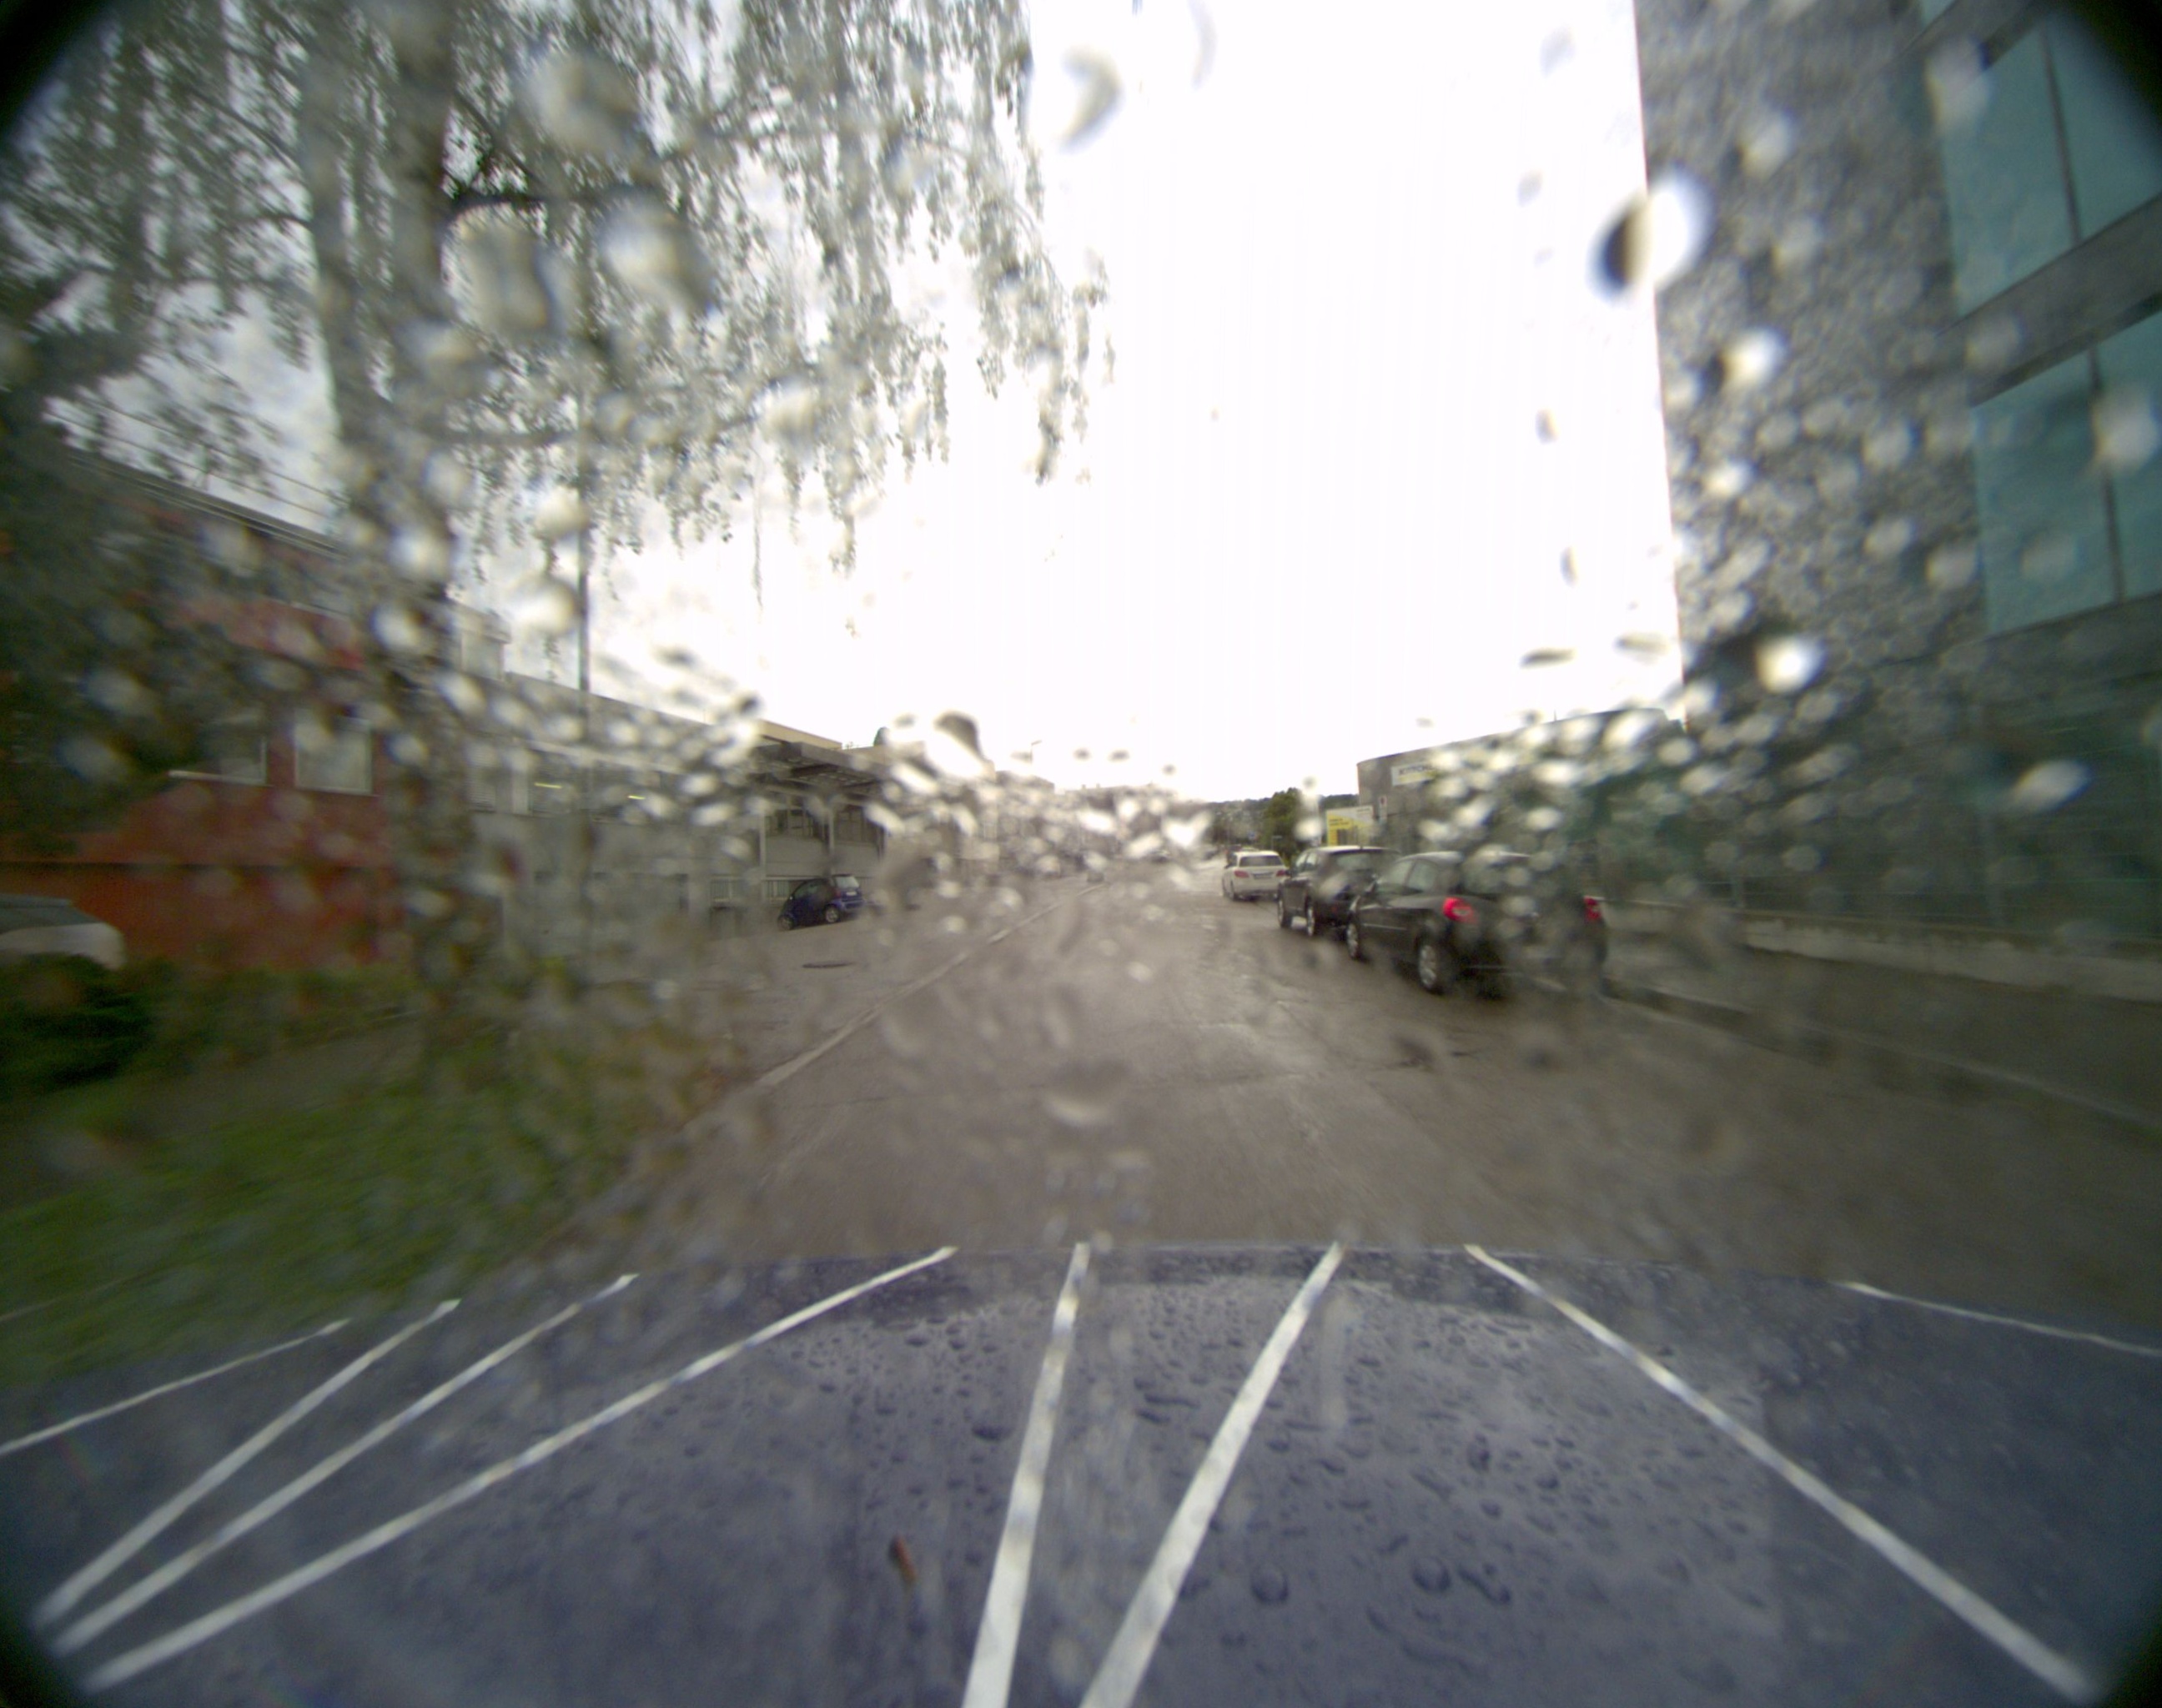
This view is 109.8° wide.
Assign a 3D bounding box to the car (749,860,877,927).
[{"bbox_3d":[-8.560,1.254,24.258,3.440,1.490,1.620,-11,-3,21],"label":"car"}]

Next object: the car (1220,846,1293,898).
[{"bbox_3d":[5.775,0.539,25.454,1.739,1.527,4.251,-2,0,5],"label":"car"}]

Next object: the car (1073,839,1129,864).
[{"bbox_3d":[2.034,-0.287,76.454,5.146,2.280,2.205,-2,0,17],"label":"car"}]

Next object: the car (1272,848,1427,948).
[{"bbox_3d":[4.737,0.683,13.984,1.636,1.549,4.085,-1,0,4],"label":"car"}]

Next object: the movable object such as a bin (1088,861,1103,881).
[{"bbox_3d":[0.819,0.951,42.730,0.735,1.084,0.594,-2,1,9],"label":"movable object such as a bin"}]

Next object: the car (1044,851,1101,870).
[{"bbox_3d":[-0.765,0.568,67.398,4.617,1.488,1.943,-2,0,15],"label":"car"}]

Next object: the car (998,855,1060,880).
[{"bbox_3d":[-3.471,0.871,50.736,3.745,1.531,1.632,-2,0,13],"label":"car"}]

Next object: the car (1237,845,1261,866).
[{"bbox_3d":[16.017,0.095,72.438,1.997,1.902,4.003,-1,0,9],"label":"car"}]

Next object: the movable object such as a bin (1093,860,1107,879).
[{"bbox_3d":[1.114,0.918,44.573,0.735,1.084,0.594,-2,1,9],"label":"movable object such as a bin"}]

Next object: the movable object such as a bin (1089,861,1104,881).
[{"bbox_3d":[0.913,0.948,43.340,0.735,1.084,0.594,-2,1,9],"label":"movable object such as a bin"}]

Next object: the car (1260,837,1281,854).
[{"bbox_3d":[22.999,-1.037,92.197,1.995,2.002,4.006,-2,0,21],"label":"car"}]

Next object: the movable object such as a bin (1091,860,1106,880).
[{"bbox_3d":[1.016,0.927,43.955,0.735,1.084,0.594,-2,1,9],"label":"movable object such as a bin"}]

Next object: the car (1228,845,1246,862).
[{"bbox_3d":[19.127,-0.063,93.321,2.066,2.002,4.515,-1,0,10],"label":"car"}]

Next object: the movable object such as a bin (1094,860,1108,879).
[{"bbox_3d":[1.210,0.917,45.185,0.735,1.084,0.594,-2,1,9],"label":"movable object such as a bin"}]

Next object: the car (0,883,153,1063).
[{"bbox_3d":[-11.097,1.174,5.848,1.998,1.570,4.517,-4,0,18],"label":"car"}]

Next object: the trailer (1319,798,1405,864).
[{"bbox_3d":[18.396,-1.425,49.943,2.393,4.065,4.688,-3,1,-36],"label":"trailer"}]

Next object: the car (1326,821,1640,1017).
[{"bbox_3d":[4.401,0.603,9.105,1.743,1.787,3.959,-2,0,2],"label":"car"}]
